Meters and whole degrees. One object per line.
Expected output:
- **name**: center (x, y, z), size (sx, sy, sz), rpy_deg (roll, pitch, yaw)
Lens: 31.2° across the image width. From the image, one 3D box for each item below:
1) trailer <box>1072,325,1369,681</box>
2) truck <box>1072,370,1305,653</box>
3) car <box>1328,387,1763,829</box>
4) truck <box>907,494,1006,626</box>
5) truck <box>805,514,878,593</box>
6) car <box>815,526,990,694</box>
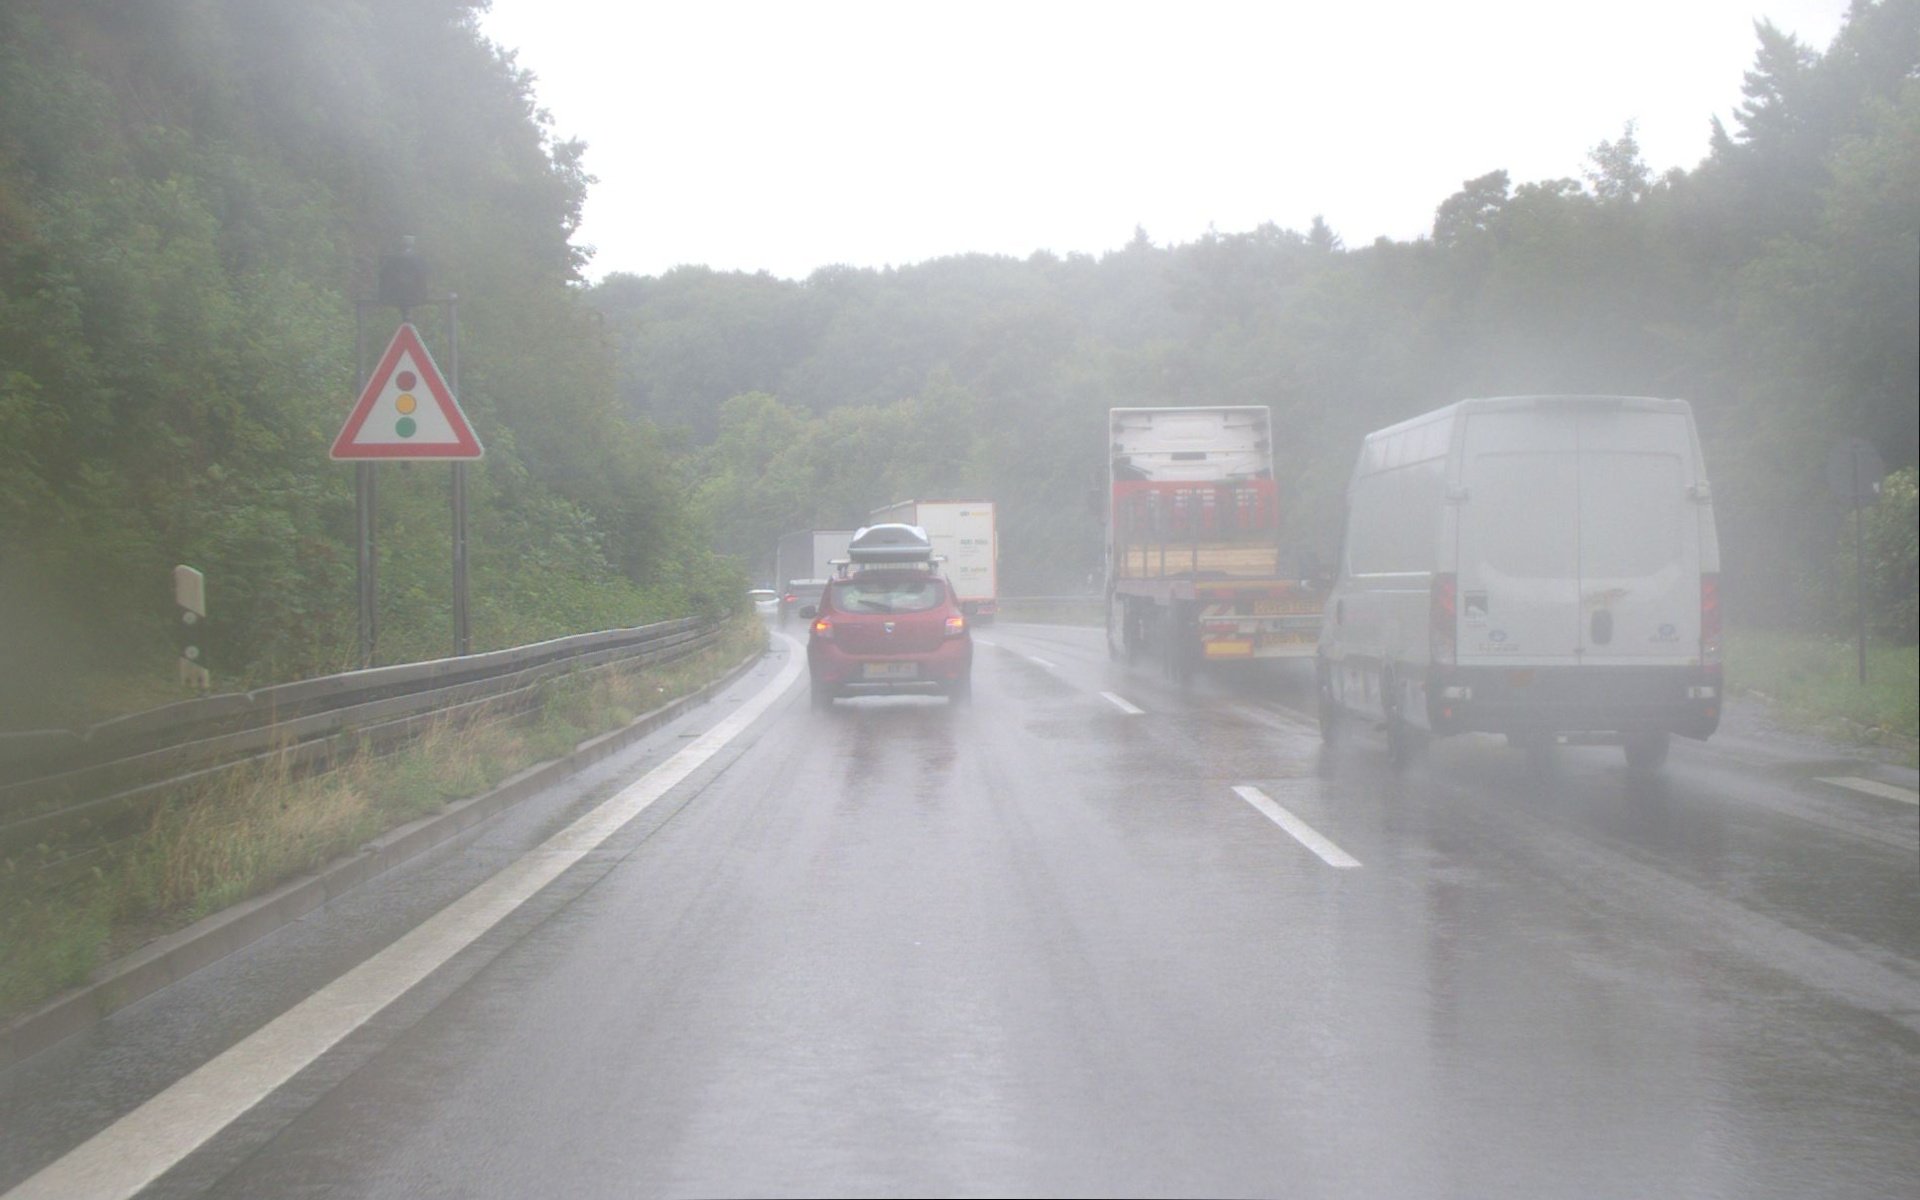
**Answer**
- **trailer**: center (3.161, -1.197, 45.588), size (3.218, 3.985, 13.523), rpy_deg (1, 1, 2)
- **truck**: center (3.328, -1.289, 51.407), size (3.220, 3.964, 5.439), rpy_deg (1, 1, 2)
- **car**: center (4.176, 0.005, 25.928), size (2.206, 2.784, 7.382), rpy_deg (2, 1, 2)
- **truck**: center (-0.185, -1.308, 112.925), size (2.686, 4.080, 9.316), rpy_deg (-1, 1, -3)
- **truck**: center (-5.129, -2.053, 149.506), size (3.061, 3.300, 8.071), rpy_deg (1, 1, -2)
- **car**: center (-0.587, 0.077, 37.293), size (1.758, 1.679, 4.000), rpy_deg (-1, 1, 0)
